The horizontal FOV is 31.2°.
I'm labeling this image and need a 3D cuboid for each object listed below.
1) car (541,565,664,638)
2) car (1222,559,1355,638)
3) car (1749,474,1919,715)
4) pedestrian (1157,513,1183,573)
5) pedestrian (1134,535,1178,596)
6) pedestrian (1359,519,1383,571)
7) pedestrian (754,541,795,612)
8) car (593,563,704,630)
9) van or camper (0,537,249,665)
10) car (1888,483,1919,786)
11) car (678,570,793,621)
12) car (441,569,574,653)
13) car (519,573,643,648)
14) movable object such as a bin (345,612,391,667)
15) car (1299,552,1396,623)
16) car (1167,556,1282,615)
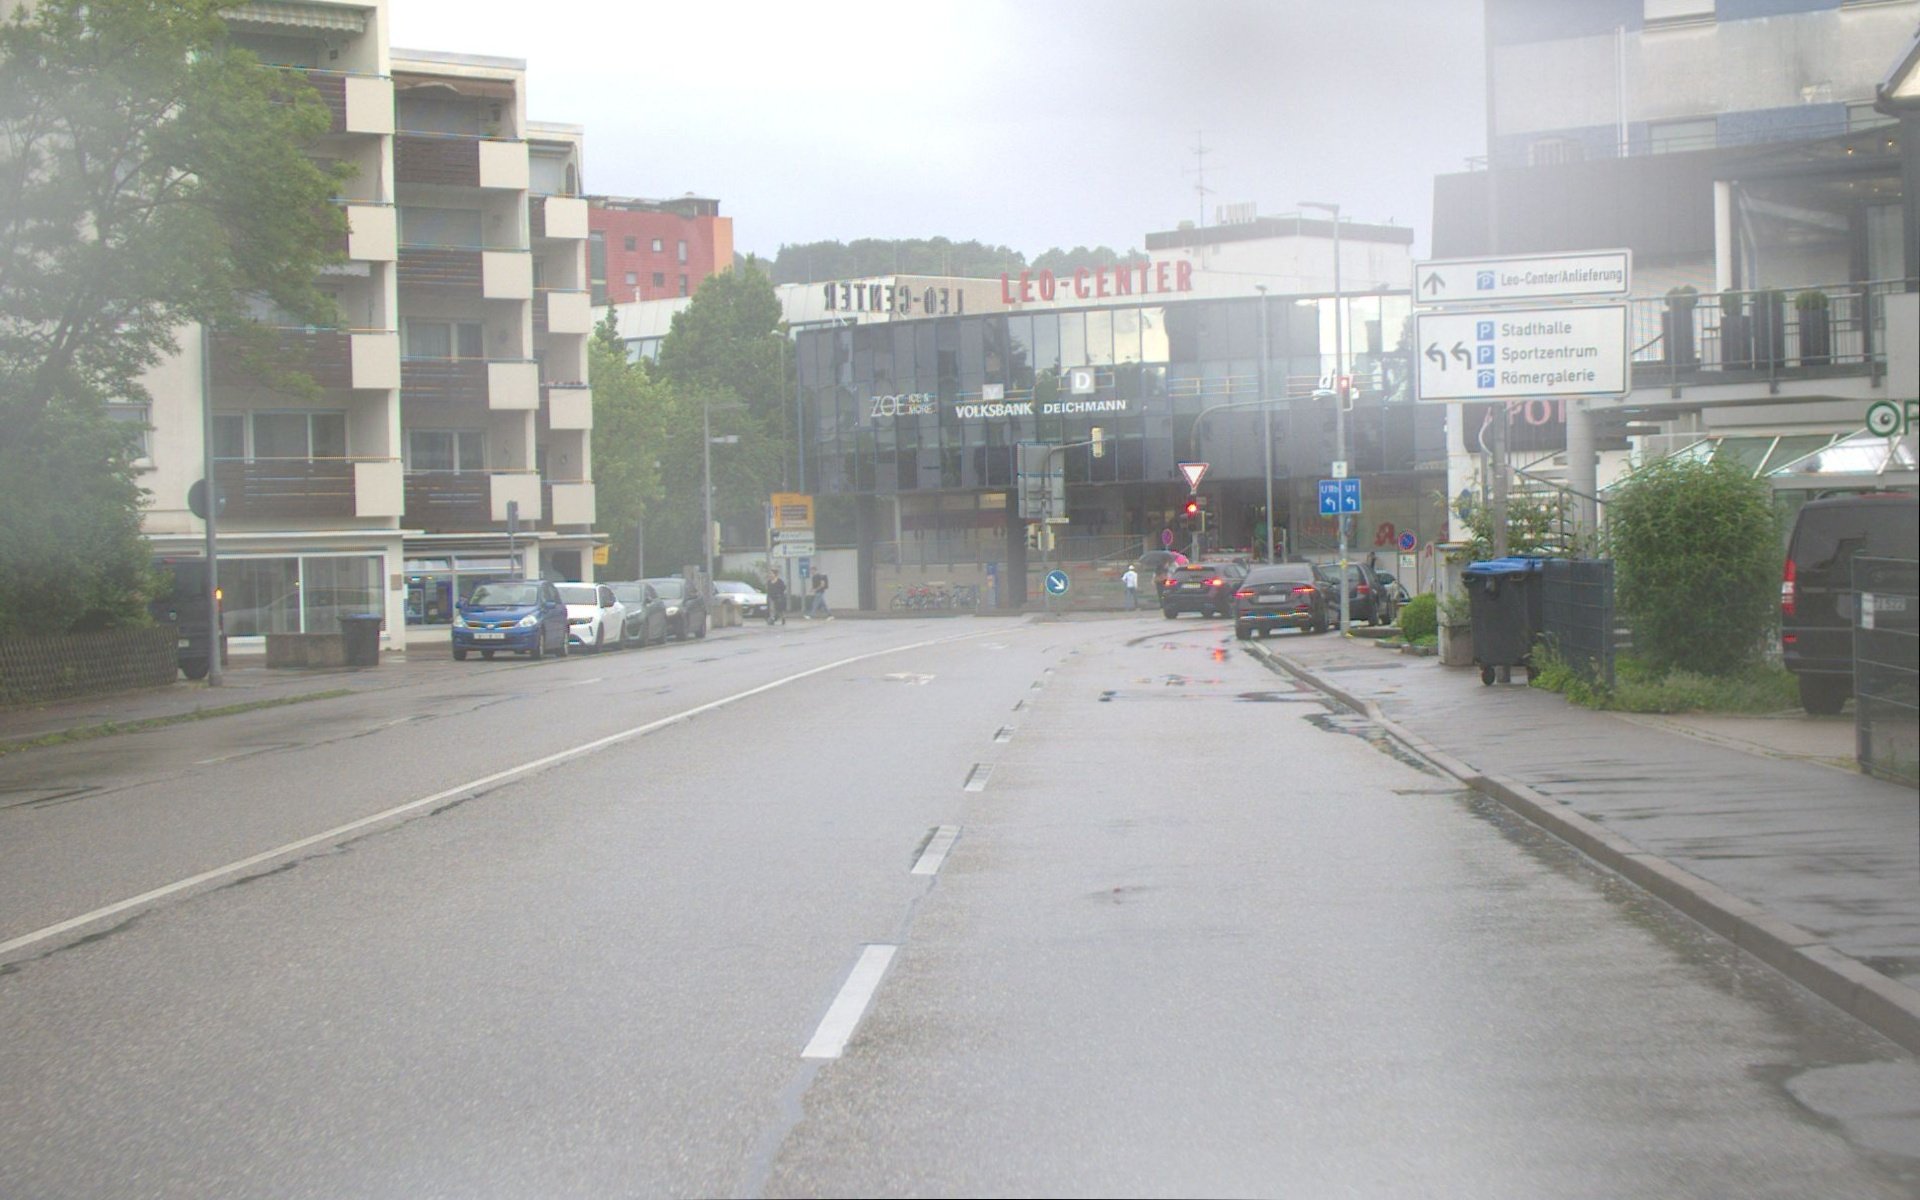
[{"bbox_3d":[-7.962,0.014,76.946,1.935,1.536,4.520,-1,1,5],"label":"car"},{"bbox_3d":[6.670,-0.015,69.342,1.995,1.528,4.644,0,-1,14],"label":"car"},{"bbox_3d":[8.752,-0.105,30.852,1.997,2.007,4.772,-1,1,29],"label":"car"},{"bbox_3d":[5.896,-1.601,96.633,0.609,1.653,0.672,2,2,0],"label":"pedestrian"},{"bbox_3d":[5.461,-0.967,95.813,0.908,1.653,0.755,2,2,-23],"label":"pedestrian"},{"bbox_3d":[16.390,-2.192,137.117,0.788,2.007,0.670,-2,0,15],"label":"pedestrian"},{"bbox_3d":[-5.306,-0.667,98.412,0.749,2.007,0.920,3,1,25],"label":"pedestrian"},{"bbox_3d":[-7.448,-0.102,82.678,1.935,1.536,4.272,-1,1,5],"label":"car"},{"bbox_3d":[-13.751,-0.026,55.870,1.994,1.918,5.216,-3,3,-40],"label":"van or camper"},{"bbox_3d":[6.686,0.208,18.362,1.993,1.779,4.691,-2,1,-2],"label":"car"},{"bbox_3d":[-7.743,-0.151,118.245,1.993,1.506,4.433,1,2,-33],"label":"car"},{"bbox_3d":[-8.626,0.184,65.856,1.652,1.516,4.324,-1,1,4],"label":"car"},{"bbox_3d":[-7.869,0.185,71.820,1.693,1.459,4.683,-1,1,5],"label":"car"},{"bbox_3d":[-10.682,0.708,62.074,0.648,0.962,0.682,-2,0,4],"label":"movable object such as a bin"},{"bbox_3d":[9.087,-0.318,80.411,1.699,1.481,3.998,-4,0,13],"label":"car"},{"bbox_3d":[6.870,-0.384,88.829,1.806,1.414,3.996,-1,1,22],"label":"car"}]
